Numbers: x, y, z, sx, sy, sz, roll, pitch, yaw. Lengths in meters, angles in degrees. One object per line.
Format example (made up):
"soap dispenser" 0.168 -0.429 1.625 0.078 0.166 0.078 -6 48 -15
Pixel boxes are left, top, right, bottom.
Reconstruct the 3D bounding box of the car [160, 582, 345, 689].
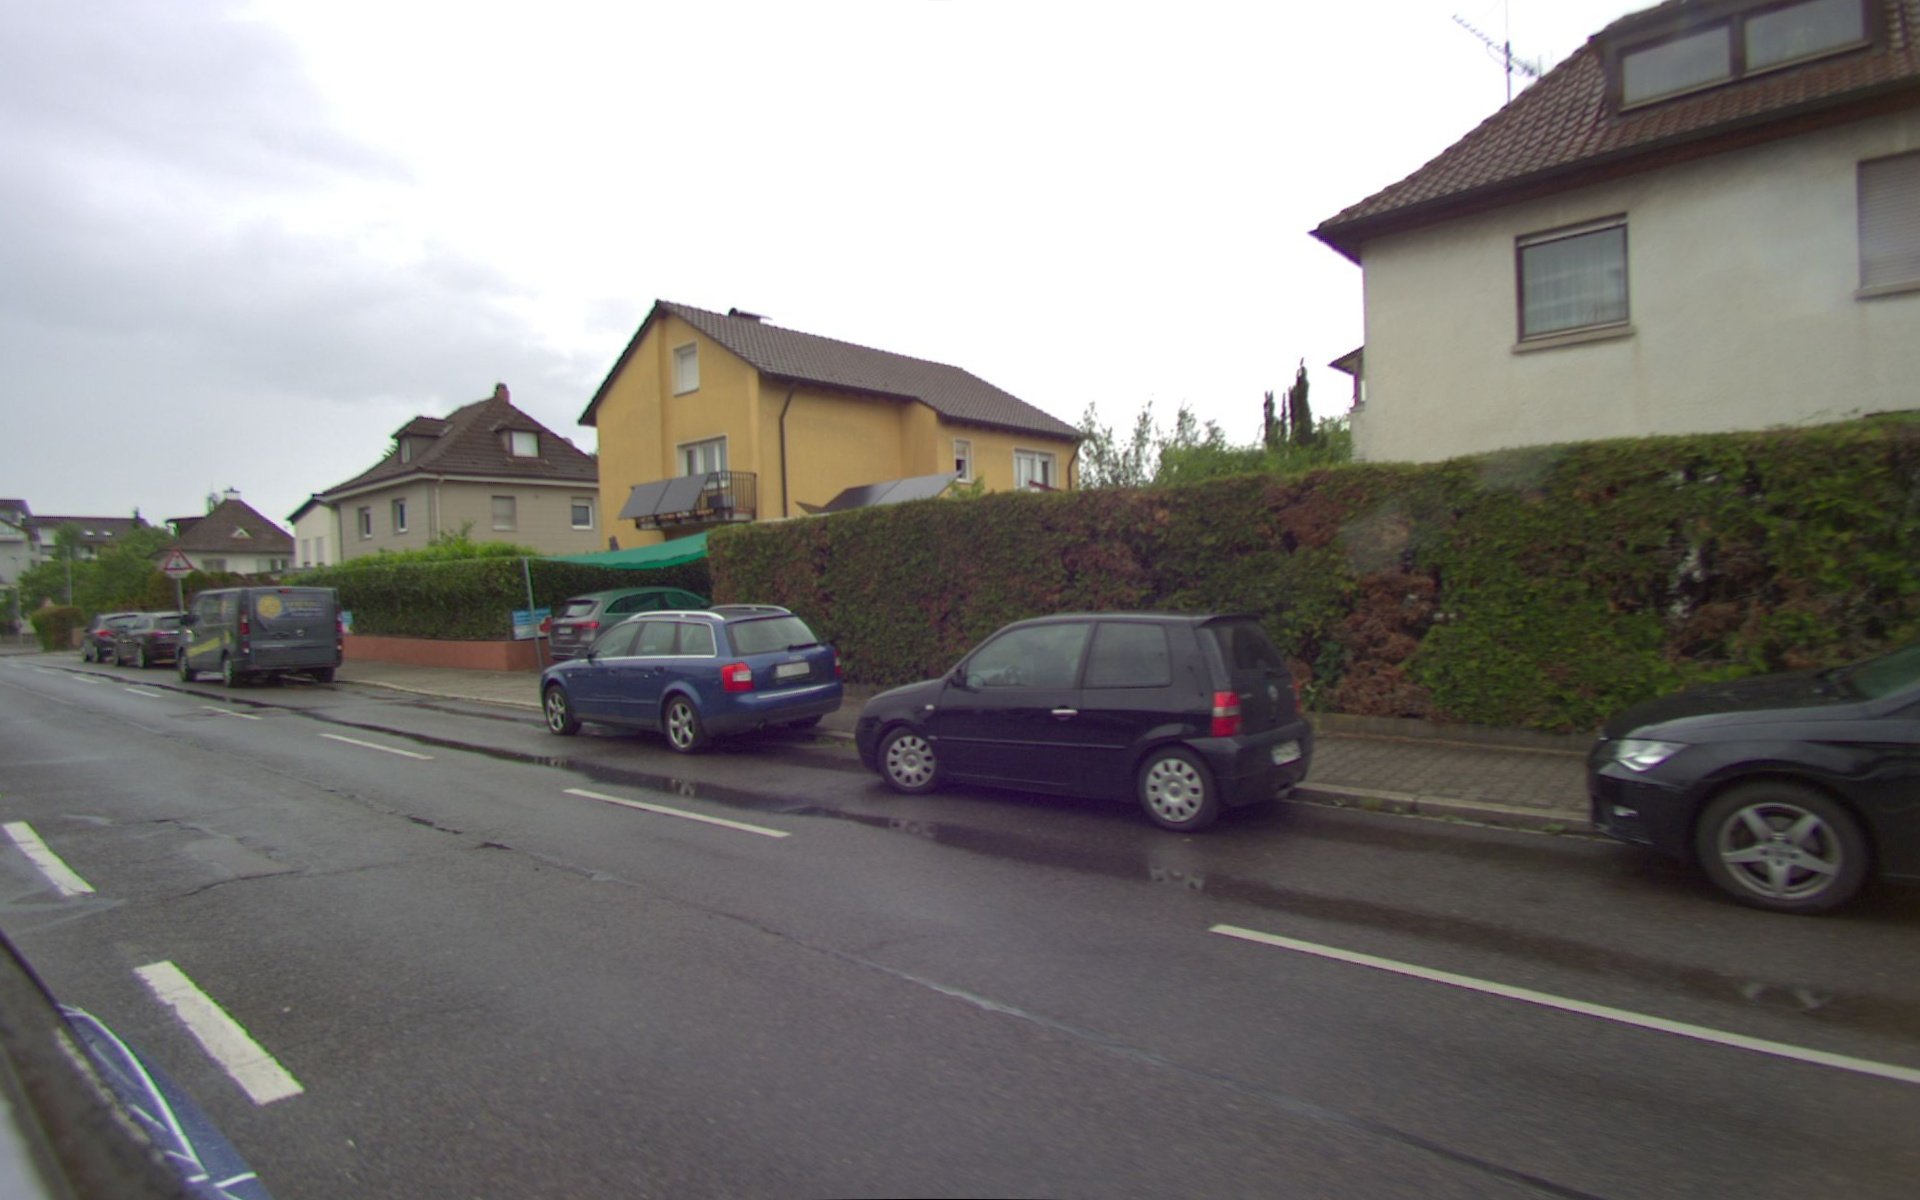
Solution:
"car" -15.103 0.679 21.487 5.082 2.018 1.894 -1 1 39

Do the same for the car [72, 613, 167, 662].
"car" -27.031 1.158 32.501 4.128 1.450 1.732 -1 1 41

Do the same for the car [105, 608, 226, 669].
"car" -22.383 1.027 28.458 4.523 1.528 1.733 -1 1 39

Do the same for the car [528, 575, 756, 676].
"car" -6.371 0.440 20.587 1.918 1.625 3.919 -1 4 42

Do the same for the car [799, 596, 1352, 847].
"car" 0.716 0.728 7.777 4.009 1.442 1.536 -1 1 38

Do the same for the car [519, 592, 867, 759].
"car" -3.177 0.723 11.553 4.284 1.544 1.739 -1 1 41

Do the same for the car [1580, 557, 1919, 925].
"car" 5.249 0.565 4.383 4.203 1.544 1.740 -1 1 38
